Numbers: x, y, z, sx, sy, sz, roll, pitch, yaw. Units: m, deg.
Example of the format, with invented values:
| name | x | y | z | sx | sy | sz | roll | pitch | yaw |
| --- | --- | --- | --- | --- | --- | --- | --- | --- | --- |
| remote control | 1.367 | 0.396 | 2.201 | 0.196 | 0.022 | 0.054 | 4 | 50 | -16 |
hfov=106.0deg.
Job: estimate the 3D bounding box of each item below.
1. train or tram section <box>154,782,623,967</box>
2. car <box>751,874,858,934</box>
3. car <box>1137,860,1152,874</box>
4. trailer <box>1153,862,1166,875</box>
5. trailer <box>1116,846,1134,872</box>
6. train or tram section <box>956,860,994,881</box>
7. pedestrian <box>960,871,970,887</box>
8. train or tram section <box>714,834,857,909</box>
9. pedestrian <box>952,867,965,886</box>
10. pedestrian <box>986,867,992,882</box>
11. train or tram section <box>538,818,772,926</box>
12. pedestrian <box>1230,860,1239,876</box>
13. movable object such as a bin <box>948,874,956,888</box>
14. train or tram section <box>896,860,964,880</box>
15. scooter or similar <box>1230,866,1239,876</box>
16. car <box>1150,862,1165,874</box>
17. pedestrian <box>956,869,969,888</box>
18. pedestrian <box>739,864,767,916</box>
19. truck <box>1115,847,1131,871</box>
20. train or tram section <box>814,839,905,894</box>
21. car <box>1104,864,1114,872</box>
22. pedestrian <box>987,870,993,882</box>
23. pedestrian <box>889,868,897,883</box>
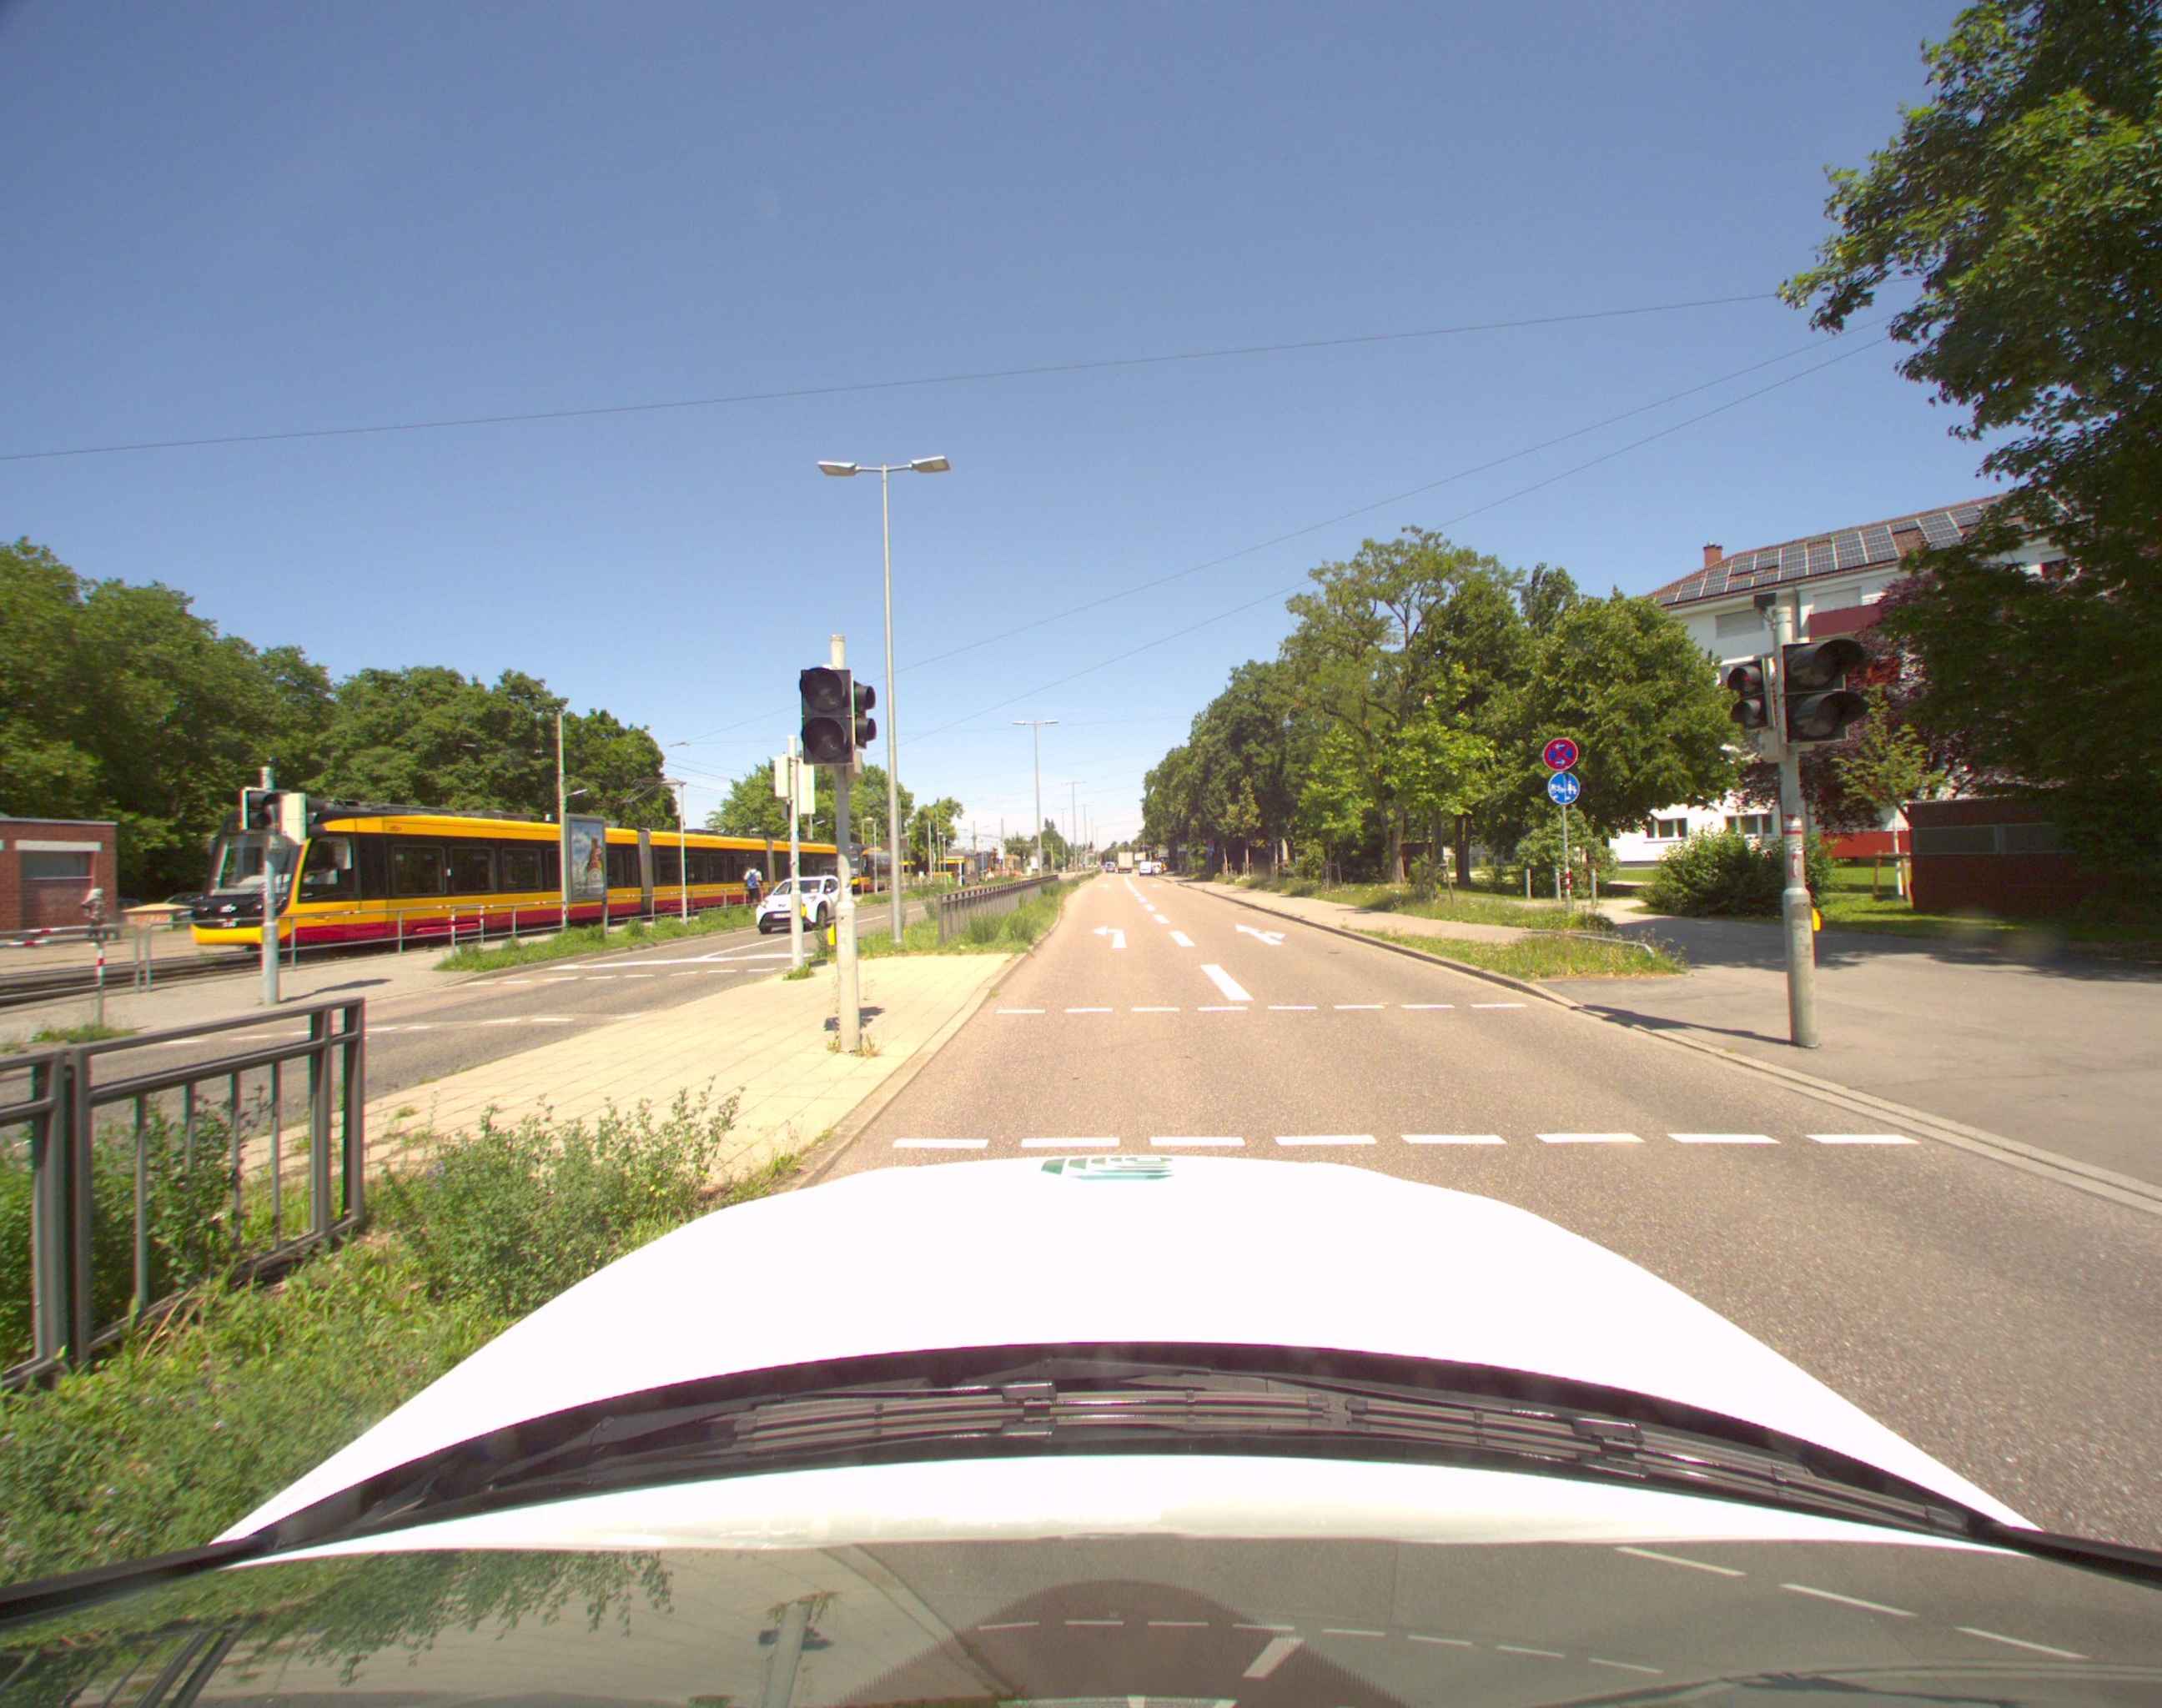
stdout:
| name | x | y | z | sx | sy | sz | roll | pitch | yaw |
| --- | --- | --- | --- | --- | --- | --- | --- | --- | --- |
| train or tram section | -17.756 | 0.486 | 22.829 | 2.939 | 3.855 | 11.545 | 0 | -1 | 2 |
| car | -7.899 | 1.380 | 23.650 | 1.763 | 1.505 | 3.719 | -2 | -1 | 0 |
| car | 8.156 | 1.716 | 104.452 | 1.700 | 1.747 | 4.436 | -1 | -1 | 7 |
| trailer | 10.651 | 1.969 | 110.679 | 1.464 | 1.669 | 2.856 | 0 | -1 | 1 |
| trailer | 7.806 | 0.911 | 145.945 | 2.817 | 4.422 | 8.749 | 0 | -1 | 1 |
| train or tram section | -18.388 | 2.871 | 140.529 | 3.050 | 3.466 | 12.647 | 0 | -1 | -24 |
| pedestrian | -9.328 | 2.029 | 65.606 | 0.699 | 1.283 | 0.840 | 0 | -1 | 0 |
| train or tram section | -16.799 | 0.954 | 47.889 | 3.031 | 3.767 | 13.269 | 0 | -1 | 3 |
| pedestrian | -10.307 | 1.864 | 68.379 | 0.927 | 1.546 | 0.985 | 0 | -1 | 0 |
| pedestrian | -9.537 | 2.090 | 84.289 | 0.533 | 1.565 | 0.582 | 0 | -1 | 1 |
| train or tram section | -17.356 | 0.704 | 34.904 | 3.032 | 3.741 | 12.600 | 0 | -1 | 2 |
| pedestrian | 13.611 | 1.236 | 72.133 | 0.705 | 1.398 | 0.763 | -1 | -1 | 3 |
| movable object such as a bin | -9.794 | 2.050 | 61.695 | 0.480 | 0.978 | 0.644 | -2 | -1 | -2 |
| train or tram section | -27.788 | 2.984 | 149.468 | 13.098 | 3.466 | 3.065 | -1 | -1 | 28 |
| scooter or similar | 13.648 | 1.494 | 72.612 | 0.705 | 0.893 | 0.763 | -1 | -1 | 3 |
| car | 10.684 | 1.942 | 114.330 | 1.693 | 1.654 | 4.399 | 0 | -1 | 1 |
| pedestrian | -9.751 | 2.042 | 67.088 | 0.871 | 1.546 | 1.026 | 0 | -1 | 0 |
| pedestrian | -11.488 | 1.264 | 28.536 | 0.630 | 1.791 | 0.776 | 0 | -1 | 0 |
| truck | 7.900 | 0.977 | 154.439 | 2.817 | 4.344 | 8.284 | 0 | 0 | 1 |
| train or tram section | -16.324 | 0.929 | 61.474 | 3.034 | 3.624 | 13.895 | 0 | -1 | 0 |
| car | 5.345 | 2.654 | 156.937 | 1.885 | 1.372 | 4.430 | 1 | -2 | 2 |
| pedestrian | -9.288 | 2.208 | 82.907 | 0.578 | 1.189 | 0.536 | 0 | -1 | 1 |
| pedestrian | -19.551 | 2.265 | 84.717 | 0.802 | 1.565 | 0.534 | 0 | -1 | -13 |
